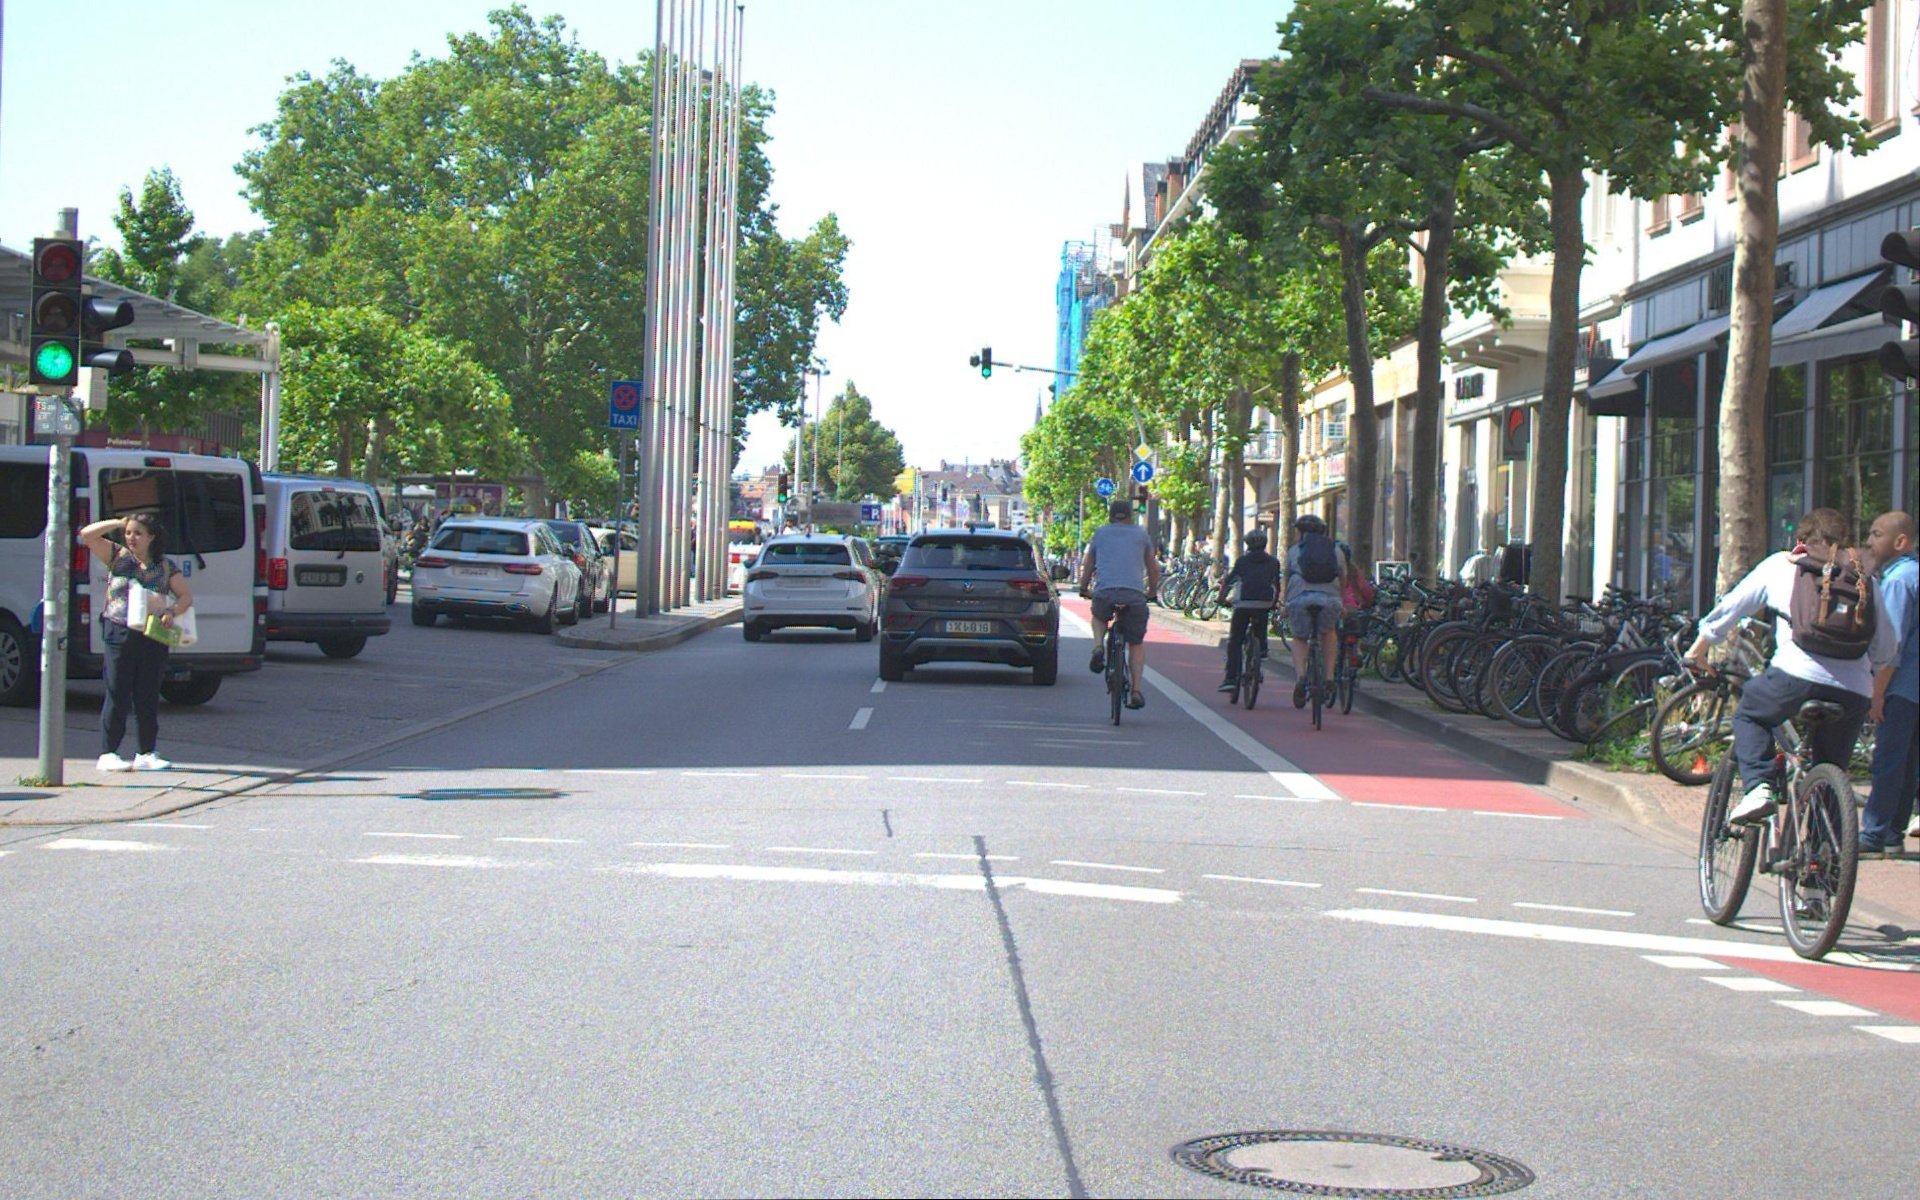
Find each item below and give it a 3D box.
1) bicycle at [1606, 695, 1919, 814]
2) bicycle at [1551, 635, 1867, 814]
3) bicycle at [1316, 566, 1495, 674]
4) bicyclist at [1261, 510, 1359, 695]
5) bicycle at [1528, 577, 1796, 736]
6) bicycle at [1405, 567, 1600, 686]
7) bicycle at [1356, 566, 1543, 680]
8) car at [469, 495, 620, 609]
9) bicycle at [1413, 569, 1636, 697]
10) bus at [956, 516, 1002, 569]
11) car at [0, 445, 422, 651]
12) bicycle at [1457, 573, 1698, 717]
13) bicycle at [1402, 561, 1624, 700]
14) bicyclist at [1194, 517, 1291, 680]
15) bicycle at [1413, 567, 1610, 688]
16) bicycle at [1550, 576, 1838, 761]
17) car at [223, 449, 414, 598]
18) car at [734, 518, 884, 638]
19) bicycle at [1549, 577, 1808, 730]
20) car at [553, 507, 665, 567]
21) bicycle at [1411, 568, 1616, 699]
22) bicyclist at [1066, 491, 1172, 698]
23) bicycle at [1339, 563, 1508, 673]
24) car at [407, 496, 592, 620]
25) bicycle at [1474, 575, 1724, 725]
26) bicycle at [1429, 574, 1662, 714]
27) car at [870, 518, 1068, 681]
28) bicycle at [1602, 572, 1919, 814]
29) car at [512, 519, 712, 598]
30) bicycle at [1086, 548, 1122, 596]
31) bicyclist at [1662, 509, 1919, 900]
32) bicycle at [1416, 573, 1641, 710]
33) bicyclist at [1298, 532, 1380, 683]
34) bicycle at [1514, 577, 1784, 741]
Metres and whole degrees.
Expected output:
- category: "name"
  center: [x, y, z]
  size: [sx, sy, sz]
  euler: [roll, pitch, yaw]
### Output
- category: "bicycle"
  center: [5.161, 0.992, 21.911]
  size: [1.136, 0.432, 1.856]
  euler: [-10, -3, -26]
- category: "bicycle"
  center: [4.933, 0.831, 22.712]
  size: [1.851, 0.395, 1.019]
  euler: [10, -34, 4]
- category: "bicycle"
  center: [4.895, 0.215, 37.796]
  size: [1.840, 1.089, 0.564]
  euler: [3, 1, 0]
- category: "bicyclist"
  center: [2.877, 0.012, 28.317]
  size: [0.630, 1.476, 1.198]
  euler: [2, 1, -1]
- category: "bicycle"
  center: [5.211, 0.412, 25.585]
  size: [1.840, 1.123, 0.666]
  euler: [1, 0, 2]
- category: "bicycle"
  center: [5.375, 0.259, 34.107]
  size: [1.840, 1.123, 0.448]
  euler: [1, 0, 3]
- category: "bicycle"
  center: [5.038, 0.233, 35.410]
  size: [1.843, 1.123, 0.447]
  euler: [1, 0, 28]
- category: "car"
  center: [-6.287, -0.753, 52.460]
  size: [1.761, 1.594, 4.710]
  euler: [2, 1, -1]
- category: "bicycle"
  center: [5.279, 0.304, 32.134]
  size: [1.987, 1.123, 0.761]
  euler: [1, 0, 13]
- category: "bus"
  center: [1.325, -4.080, 245.525]
  size: [2.995, 3.581, 11.745]
  euler: [2, 0, -1]
- category: "car"
  center: [-7.823, -0.564, 35.170]
  size: [4.441, 1.903, 2.005]
  euler: [3, 2, 37]
- category: "bicycle"
  center: [5.054, 0.364, 28.209]
  size: [1.840, 1.123, 0.666]
  euler: [1, 0, 2]
- category: "bicycle"
  center: [4.926, 0.268, 30.699]
  size: [1.840, 1.123, 0.679]
  euler: [3, 1, 4]
- category: "bicyclist"
  center: [2.584, -0.021, 31.522]
  size: [0.698, 1.435, 0.791]
  euler: [3, 1, -3]
- category: "bicycle"
  center: [5.393, 0.267, 33.647]
  size: [1.840, 1.123, 0.448]
  euler: [1, 0, 3]
- category: "bicycle"
  center: [5.012, 0.458, 23.506]
  size: [1.841, 1.123, 0.345]
  euler: [4, 2, 15]
- category: "car"
  center: [-9.294, -1.117, 50.149]
  size: [1.832, 2.007, 4.685]
  euler: [2, 1, 0]
- category: "car"
  center: [-2.045, -0.335, 47.590]
  size: [1.845, 1.554, 4.000]
  euler: [1, 1, 0]
- category: "bicycle"
  center: [5.536, 0.407, 26.553]
  size: [1.840, 1.123, 0.666]
  euler: [1, 0, 2]
- category: "car"
  center: [-12.212, -2.194, 119.920]
  size: [1.861, 1.948, 4.755]
  euler: [2, 0, 21]
- category: "bicycle"
  center: [5.292, 0.316, 32.848]
  size: [1.841, 1.123, 0.530]
  euler: [4, 0, 13]
- category: "bicyclist"
  center: [1.280, -0.052, 27.811]
  size: [0.774, 1.629, 0.851]
  euler: [1, 1, 0]
- category: "bicycle"
  center: [4.920, 0.200, 36.440]
  size: [1.840, 1.123, 0.594]
  euler: [1, 0, -36]
- category: "car"
  center: [-6.182, -0.608, 46.662]
  size: [1.799, 1.518, 4.739]
  euler: [3, 2, 0]
- category: "bicycle"
  center: [5.034, 0.391, 27.162]
  size: [1.840, 1.123, 0.643]
  euler: [1, 0, 2]
- category: "bicycle"
  center: [4.928, 0.366, 29.022]
  size: [1.840, 1.123, 0.666]
  euler: [1, 0, 2]
- category: "car"
  center: [0.033, -0.051, 35.475]
  size: [1.845, 1.554, 4.001]
  euler: [1, 1, -2]
- category: "bicycle"
  center: [4.774, 0.511, 19.975]
  size: [1.855, 1.184, 0.715]
  euler: [7, 5, 38]
- category: "car"
  center: [-7.417, -0.913, 73.664]
  size: [1.894, 1.536, 4.855]
  euler: [3, 3, 27]
- category: "bicycle"
  center: [3.151, -0.627, 75.321]
  size: [0.647, 0.994, 2.031]
  euler: [2, 1, 0]
- category: "bicyclist"
  center: [3.260, 0.387, 13.459]
  size: [0.698, 1.440, 0.961]
  euler: [3, 1, -3]
- category: "bicycle"
  center: [4.902, 0.355, 29.717]
  size: [1.840, 1.123, 0.530]
  euler: [1, 0, 2]
- category: "bicyclist"
  center: [3.474, 0.066, 31.566]
  size: [0.600, 1.353, 0.721]
  euler: [-2, 0, -3]
- category: "bicycle"
  center: [4.952, 0.416, 24.813]
  size: [1.840, 1.123, 0.666]
  euler: [1, 0, 7]
